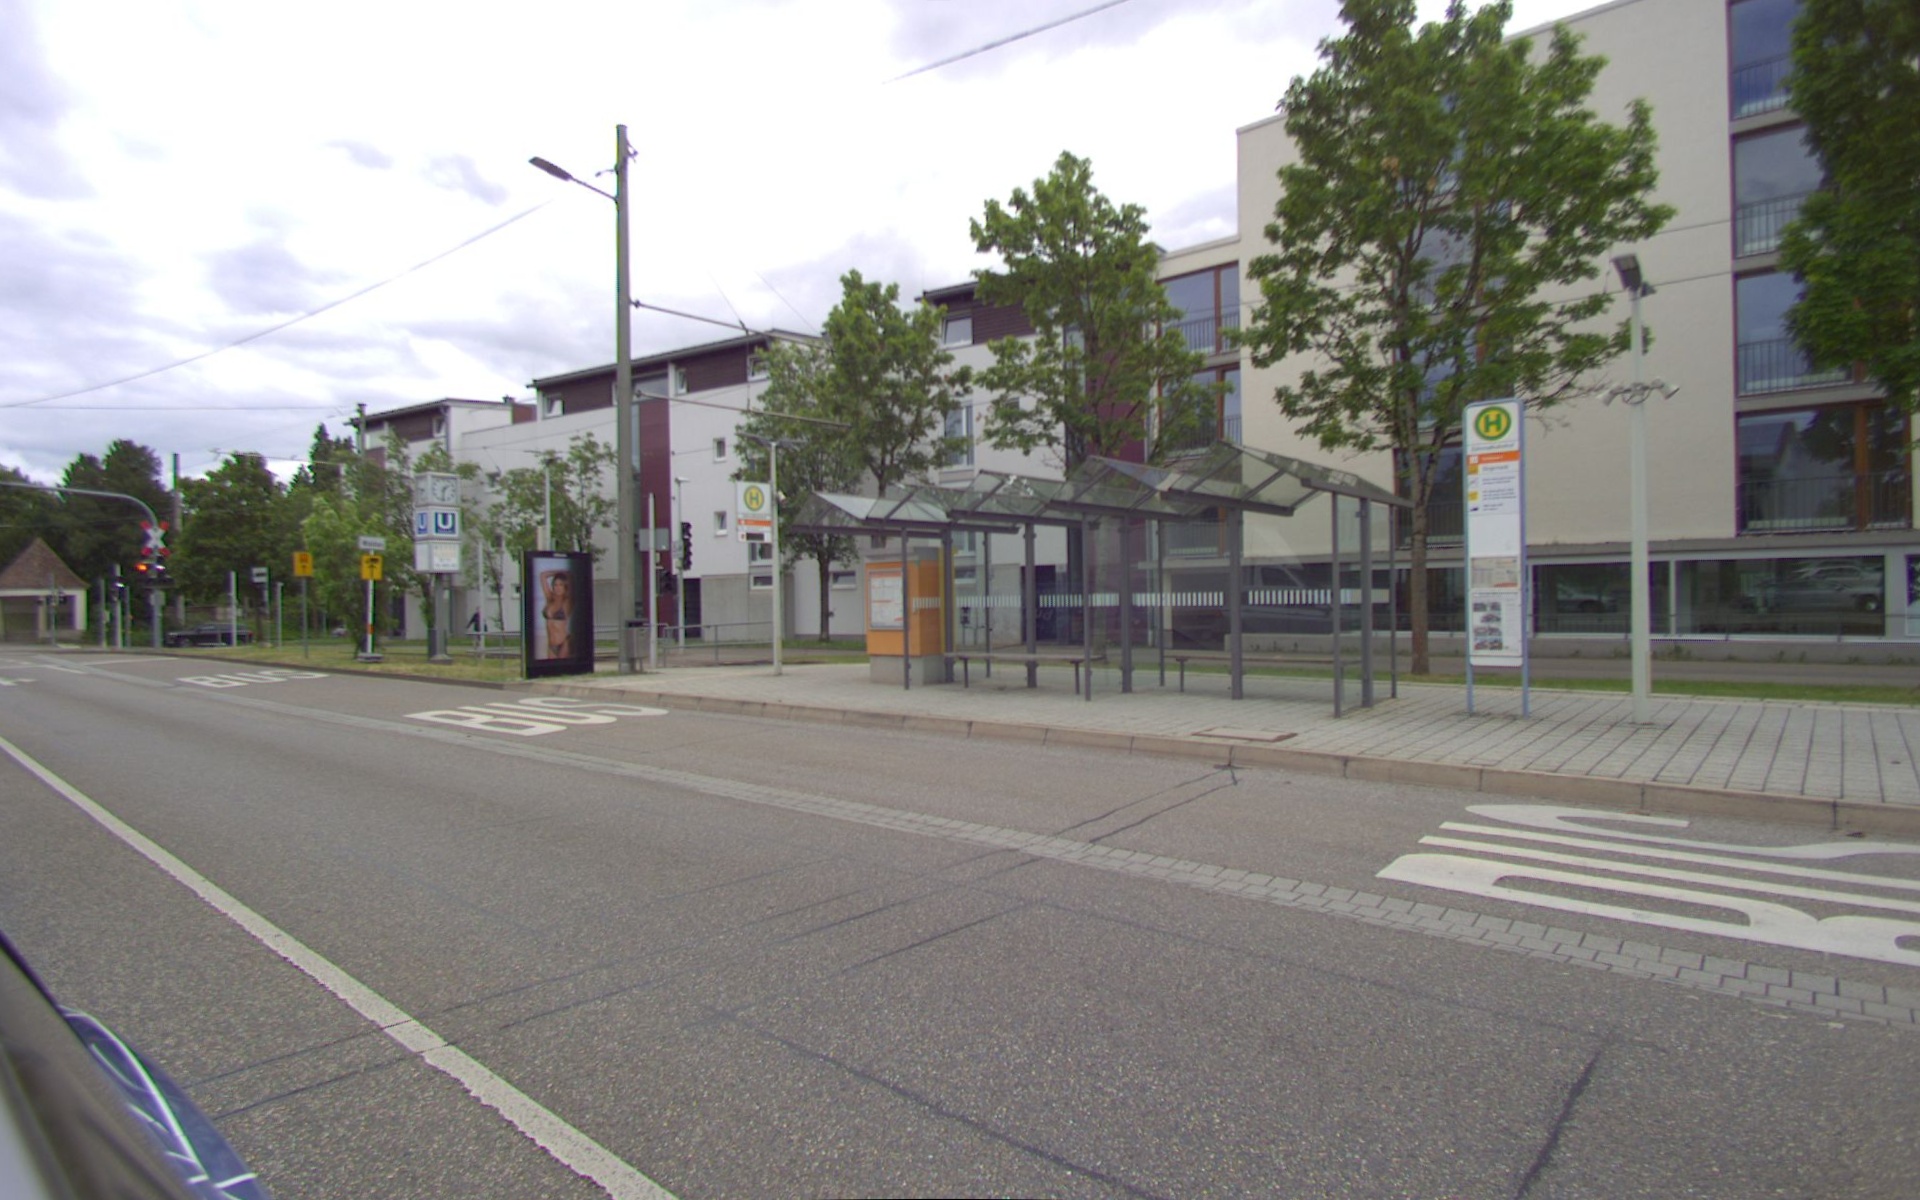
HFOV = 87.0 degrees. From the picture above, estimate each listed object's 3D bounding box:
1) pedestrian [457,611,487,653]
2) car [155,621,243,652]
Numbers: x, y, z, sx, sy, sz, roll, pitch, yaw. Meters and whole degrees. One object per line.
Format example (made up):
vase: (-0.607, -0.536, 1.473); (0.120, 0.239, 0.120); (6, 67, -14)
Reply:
pedestrian: (-19.025, 1.233, 39.451); (0.778, 1.607, 0.773); (-1, 0, 32)
car: (-46.578, 2.223, 62.012); (1.926, 1.719, 3.949); (-1, 0, 37)
